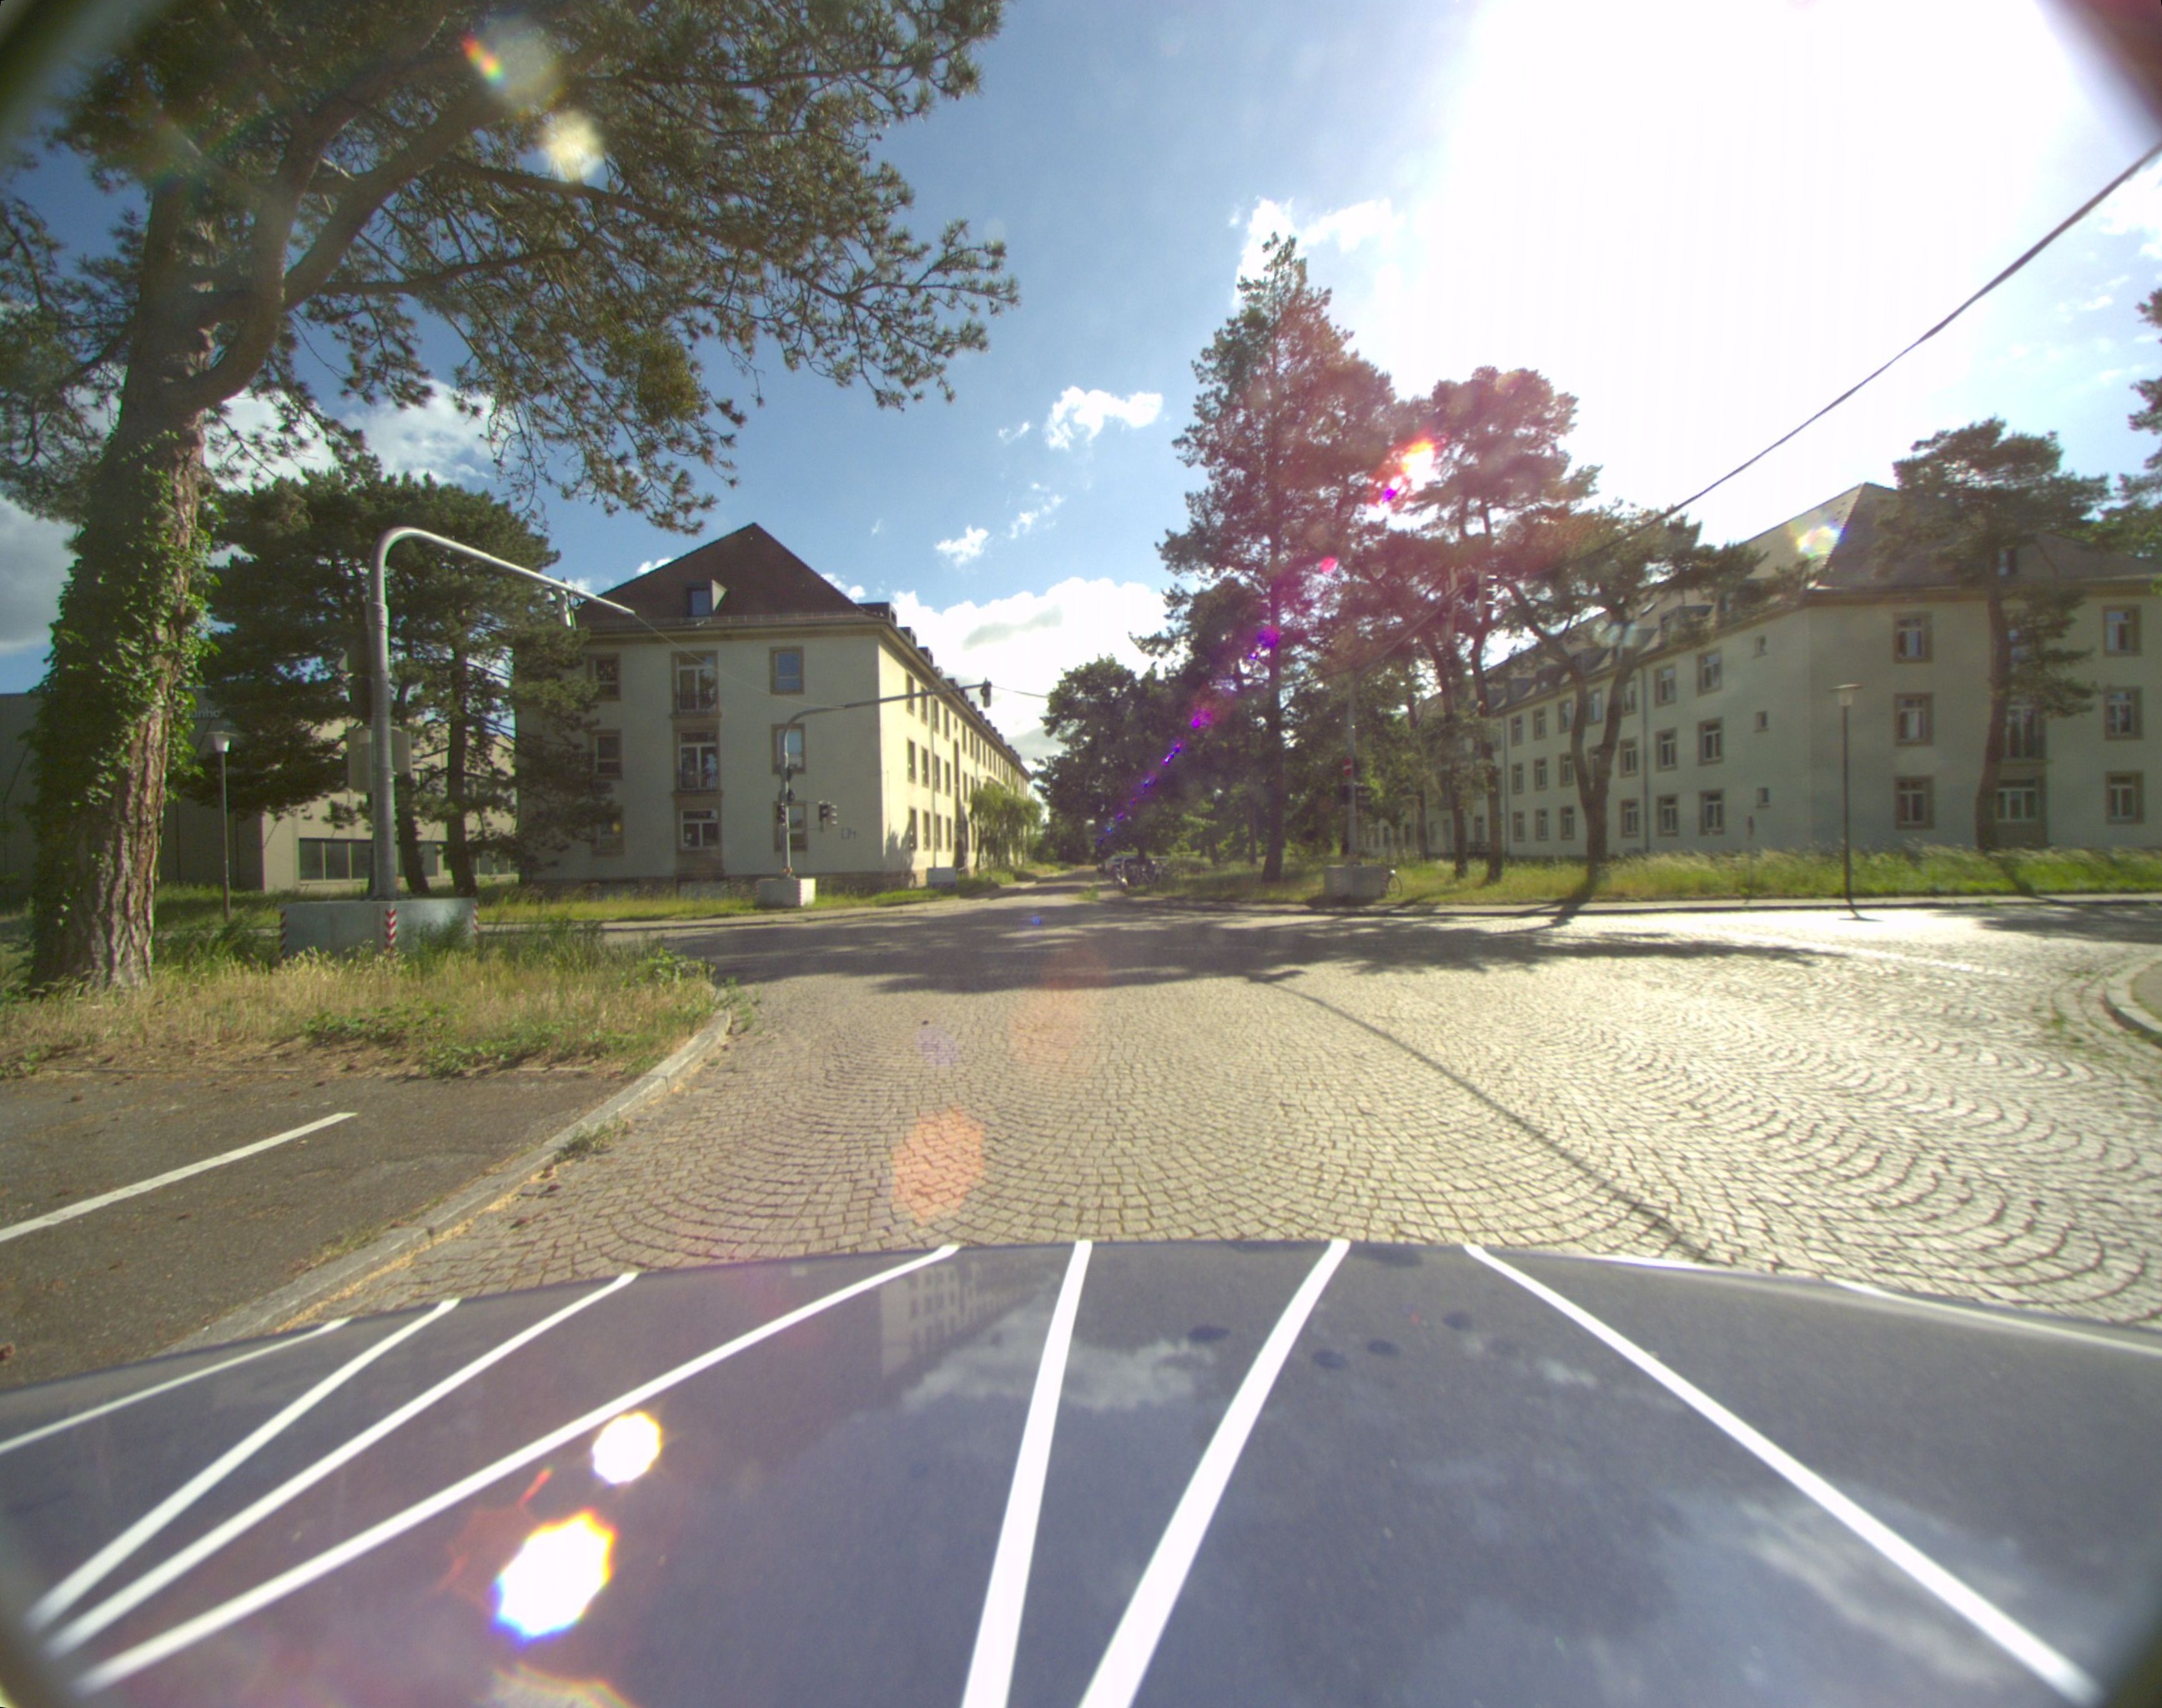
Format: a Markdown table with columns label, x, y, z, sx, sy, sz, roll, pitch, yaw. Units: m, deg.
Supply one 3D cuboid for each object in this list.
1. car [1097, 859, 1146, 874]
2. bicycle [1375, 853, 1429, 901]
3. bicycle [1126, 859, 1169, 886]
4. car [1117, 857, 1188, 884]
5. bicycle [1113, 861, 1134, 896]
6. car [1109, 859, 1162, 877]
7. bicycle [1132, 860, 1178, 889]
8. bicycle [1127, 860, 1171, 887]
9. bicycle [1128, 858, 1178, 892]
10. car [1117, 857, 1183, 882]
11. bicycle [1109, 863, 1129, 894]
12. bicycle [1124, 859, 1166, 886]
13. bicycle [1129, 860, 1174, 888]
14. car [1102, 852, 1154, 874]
| label | x | y | z | sx | sy | sz | roll | pitch | yaw |
| --- | --- | --- | --- | --- | --- | --- | --- | --- | --- |
| car | 3.753 | 1.151 | 70.157 | 4.226 | 1.294 | 1.817 | -1 | 0 | -8 |
| bicycle | 9.264 | 0.643 | 22.017 | 0.621 | 1.276 | 2.115 | -4 | 0 | 0 |
| bicycle | 3.447 | 0.976 | 39.611 | 2.114 | 1.276 | 0.621 | -3 | 1 | -3 |
| car | 4.348 | 0.994 | 46.590 | 4.044 | 1.493 | 1.817 | -1 | 1 | -6 |
| bicycle | 1.747 | 0.994 | 31.491 | 0.621 | 1.342 | 2.114 | -3 | 0 | -2 |
| car | 4.375 | 1.133 | 61.360 | 4.043 | 1.355 | 1.817 | -1 | 0 | -5 |
| bicycle | 3.600 | 0.975 | 37.029 | 2.114 | 1.276 | 0.621 | -3 | 1 | -5 |
| bicycle | 3.468 | 0.979 | 38.707 | 2.114 | 1.276 | 0.621 | -3 | 1 | -3 |
| bicycle | 3.298 | 0.957 | 34.786 | 2.113 | 1.276 | 0.621 | -6 | 1 | -1 |
| car | 4.487 | 1.008 | 49.612 | 4.044 | 1.514 | 1.817 | -1 | 1 | -6 |
| bicycle | 1.664 | 1.080 | 33.672 | 0.621 | 1.276 | 2.114 | -3 | 0 | -2 |
| bicycle | 3.411 | 0.981 | 40.456 | 2.114 | 1.276 | 0.621 | -3 | 1 | -3 |
| bicycle | 3.511 | 0.984 | 37.860 | 2.114 | 1.276 | 0.621 | -3 | 1 | -4 |
| car | 4.110 | 0.789 | 66.988 | 4.226 | 1.903 | 1.816 | -1 | 1 | -8 |
